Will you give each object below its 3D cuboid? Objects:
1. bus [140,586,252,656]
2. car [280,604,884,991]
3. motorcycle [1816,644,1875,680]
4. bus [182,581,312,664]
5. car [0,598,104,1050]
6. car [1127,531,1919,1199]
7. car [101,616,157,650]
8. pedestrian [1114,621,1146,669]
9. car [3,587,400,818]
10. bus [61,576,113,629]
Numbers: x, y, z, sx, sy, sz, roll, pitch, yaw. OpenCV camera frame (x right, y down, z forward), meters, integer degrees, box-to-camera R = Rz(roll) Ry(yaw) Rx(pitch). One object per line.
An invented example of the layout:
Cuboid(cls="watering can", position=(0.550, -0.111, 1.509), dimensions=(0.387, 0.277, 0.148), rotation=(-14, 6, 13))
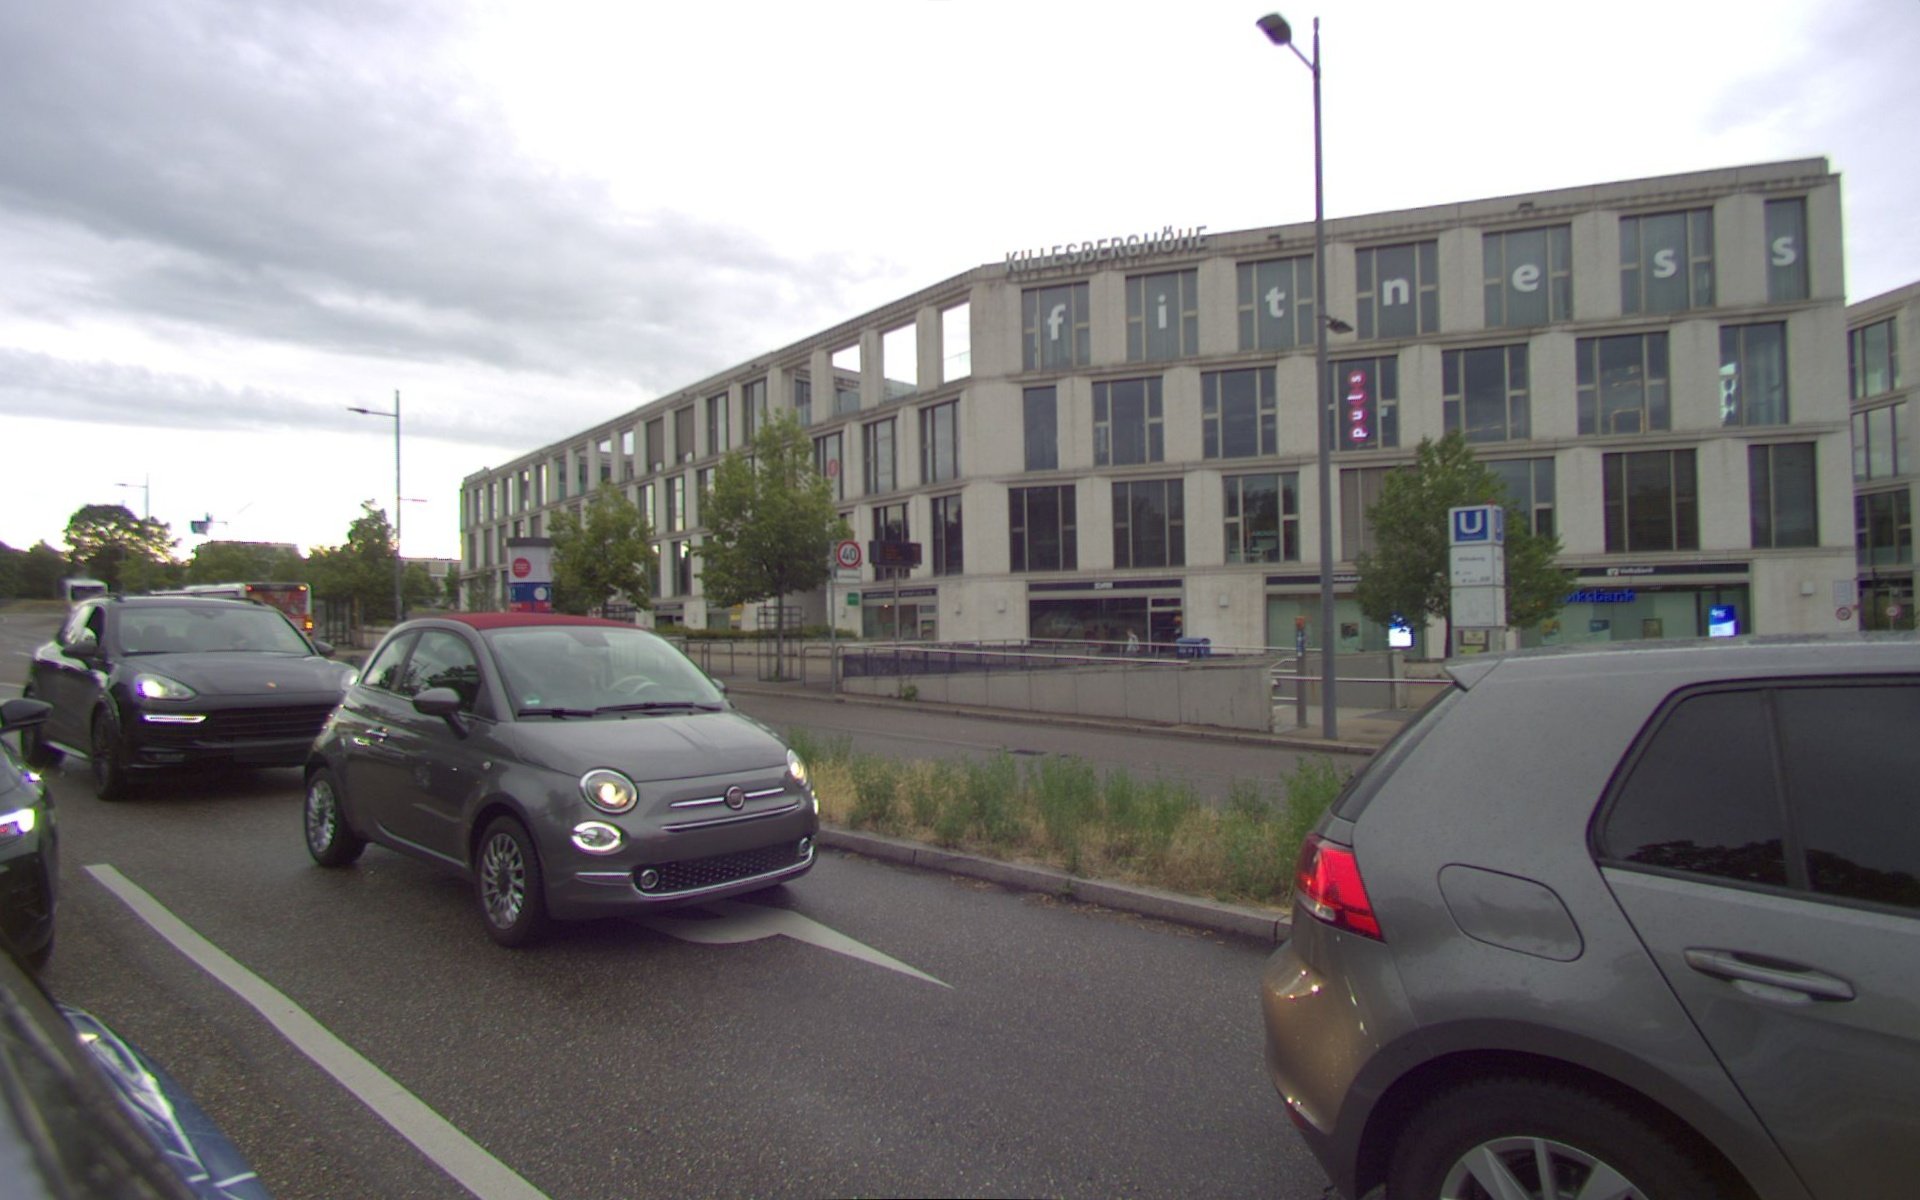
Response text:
Cuboid(cls="bus", position=(-38.161, 0.989, 50.381), dimensions=(9.911, 3.205, 2.658), rotation=(-1, 0, 42))
Cuboid(cls="car", position=(-2.245, 0.796, 5.655), dimensions=(3.502, 1.492, 1.611), rotation=(-1, -2, 39))
Cuboid(cls="motorcycle", position=(20.410, 1.425, 23.343), dimensions=(0.517, 0.746, 1.098), rotation=(-1, 0, 9))
Cuboid(cls="bus", position=(-31.134, 0.919, 43.974), dimensions=(9.206, 3.236, 2.723), rotation=(-1, 0, 43))
Cuboid(cls="car", position=(-5.372, 0.763, 4.371), dimensions=(4.766, 1.476, 1.877), rotation=(-1, 0, 41))
Cuboid(cls="car", position=(2.594, 0.650, 1.453), dimensions=(4.374, 1.492, 1.797), rotation=(-1, -2, 41))
Cuboid(cls="car", position=(-47.111, 1.834, 57.330), dimensions=(3.998, 1.800, 1.843), rotation=(-1, 0, 41))
Cuboid(cls="pedestrian", position=(5.867, 1.529, 34.904), dimensions=(0.910, 1.617, 0.757), rotation=(-1, -1, 27))
Cuboid(cls="car", position=(-7.277, 0.787, 9.532), dimensions=(4.612, 1.671, 1.910), rotation=(-1, -2, 39))
Cuboid(cls="bus", position=(-76.590, 0.270, 89.043), dimensions=(2.717, 4.185, 19.383), rotation=(-1, 0, -39))
